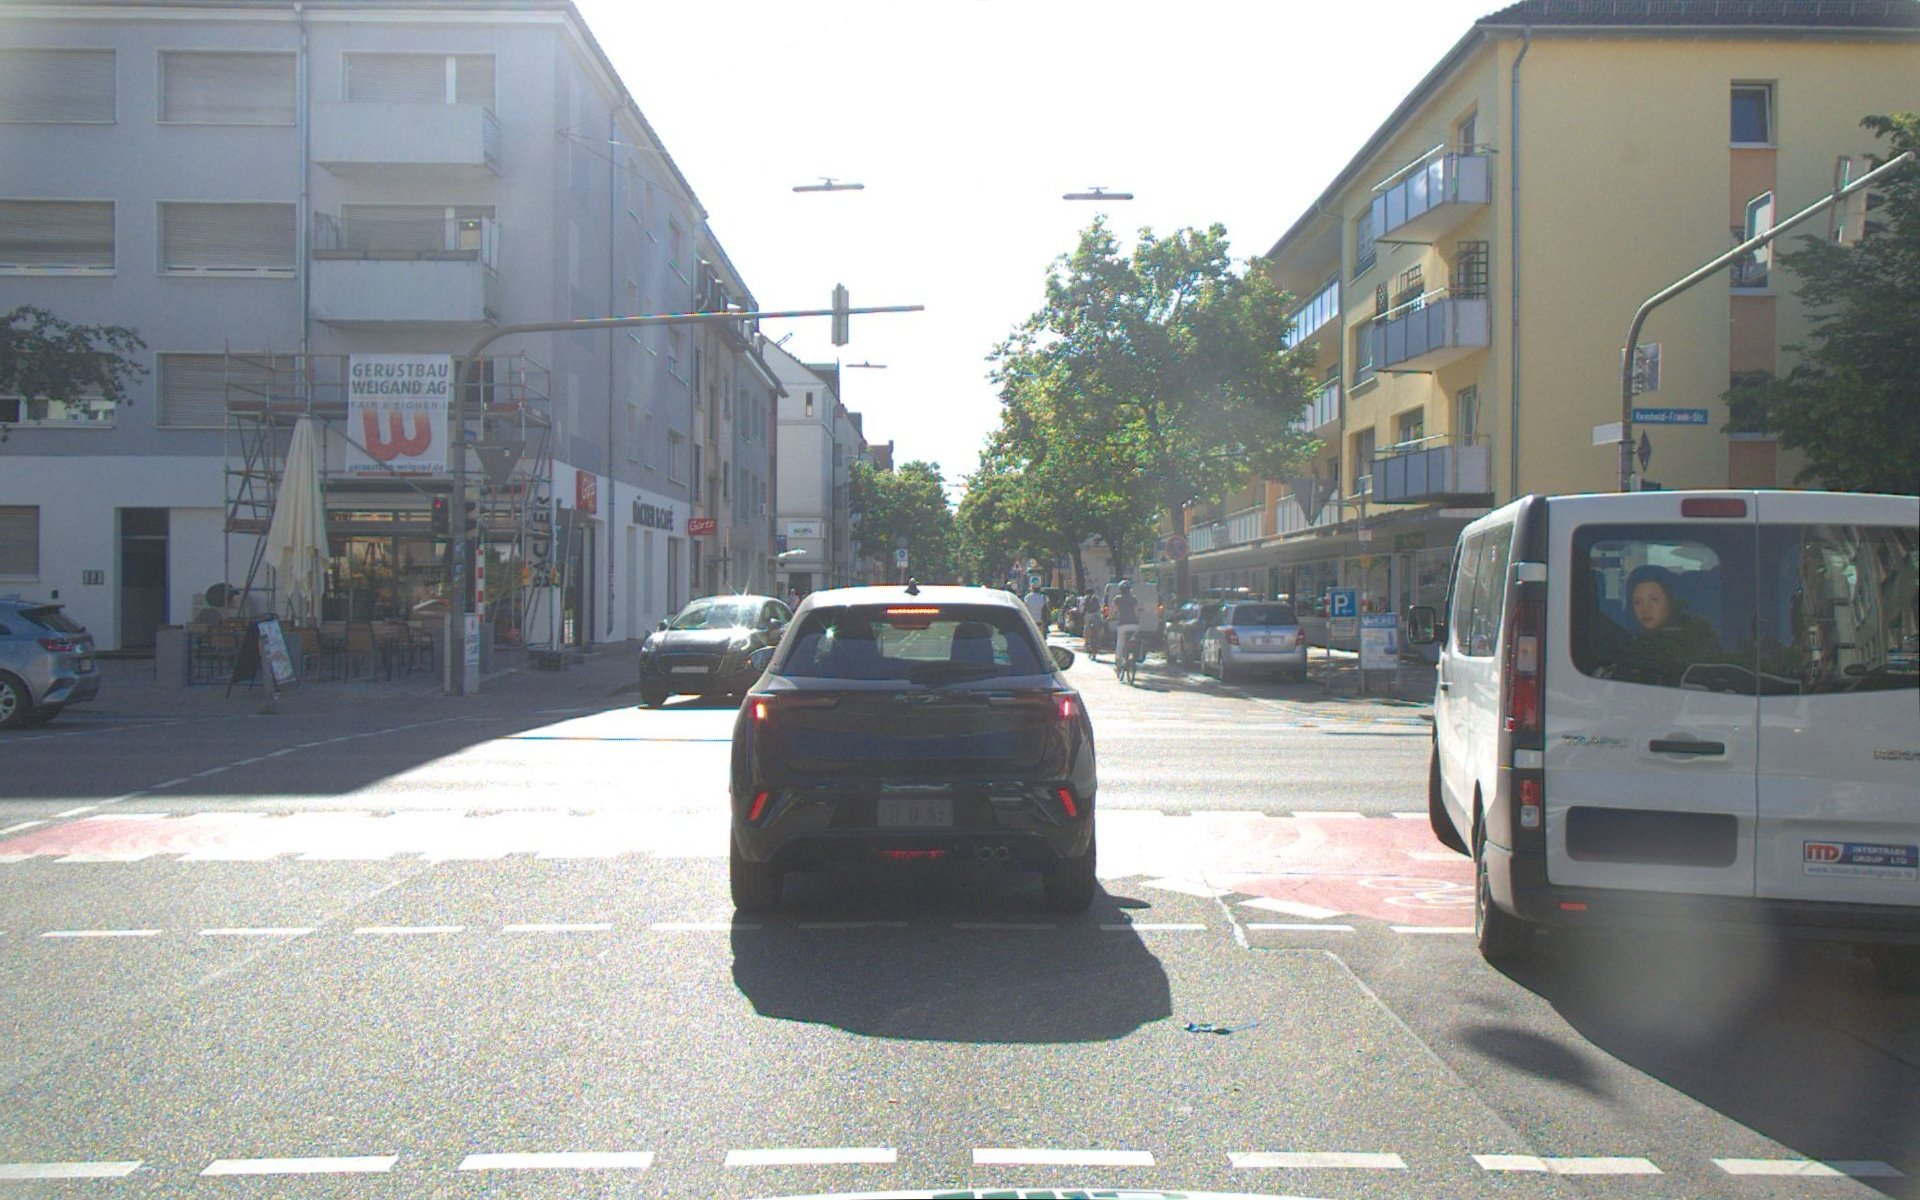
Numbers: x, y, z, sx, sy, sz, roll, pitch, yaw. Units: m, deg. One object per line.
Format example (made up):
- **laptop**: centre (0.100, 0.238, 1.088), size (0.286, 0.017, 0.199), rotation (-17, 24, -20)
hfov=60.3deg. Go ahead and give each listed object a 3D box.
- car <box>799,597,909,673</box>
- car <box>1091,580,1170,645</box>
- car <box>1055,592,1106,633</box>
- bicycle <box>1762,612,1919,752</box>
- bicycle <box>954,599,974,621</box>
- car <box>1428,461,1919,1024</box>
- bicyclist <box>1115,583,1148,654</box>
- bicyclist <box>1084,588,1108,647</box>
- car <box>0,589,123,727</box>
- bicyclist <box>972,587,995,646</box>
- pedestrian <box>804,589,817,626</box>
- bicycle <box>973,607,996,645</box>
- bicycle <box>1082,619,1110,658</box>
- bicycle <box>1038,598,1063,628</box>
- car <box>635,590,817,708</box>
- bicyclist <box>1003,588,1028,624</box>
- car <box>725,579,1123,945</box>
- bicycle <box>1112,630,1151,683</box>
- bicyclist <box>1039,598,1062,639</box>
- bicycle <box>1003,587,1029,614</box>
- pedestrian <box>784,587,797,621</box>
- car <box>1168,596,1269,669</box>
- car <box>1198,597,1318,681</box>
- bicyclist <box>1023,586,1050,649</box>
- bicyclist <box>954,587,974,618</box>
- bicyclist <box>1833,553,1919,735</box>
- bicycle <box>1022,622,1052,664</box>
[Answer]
- **car**: centre (-2.160, 0.688, 34.901), size (1.767, 1.437, 4.428), rotation (-1, 0, 3)
- **car**: centre (5.150, 0.352, 50.449), size (2.004, 1.879, 4.584), rotation (0, 0, 1)
- **car**: centre (4.521, 0.452, 62.601), size (1.677, 1.509, 3.381), rotation (0, 0, 0)
- **bicycle**: centre (8.817, 0.764, 15.674), size (2.087, 1.277, 0.804), rotation (0, 0, 17)
- **bicycle**: centre (0.188, 0.443, 74.491), size (0.839, 0.961, 2.307), rotation (2, 0, -1)
- **car**: centre (3.531, 0.510, 8.413), size (1.926, 1.974, 5.060), rotation (2, 0, 13)
- **bicyclist**: centre (3.129, 0.325, 30.219), size (0.535, 1.284, 0.803), rotation (0, 0, 1)
- **bicyclist**: centre (3.291, 0.424, 40.112), size (0.535, 1.406, 0.823), rotation (0, 0, 1)
- **car**: centre (-11.516, 0.604, 17.940), size (4.099, 1.459, 1.833), rotation (0, 0, -19)
- **bicyclist**: centre (0.672, 0.476, 48.013), size (0.619, 1.698, 1.050), rotation (0, 0, -1)
- **pedestrian**: centre (-6.545, 0.332, 72.250), size (0.566, 1.610, 0.707), rotation (0, 0, -6)
- **bicycle**: centre (0.714, 0.760, 48.268), size (0.619, 1.059, 1.795), rotation (0, 0, -1)
- **bicycle**: centre (3.295, 0.919, 40.226), size (0.535, 0.881, 1.876), rotation (0, 0, 1)
- **bicycle**: centre (2.745, 0.395, 50.162), size (0.677, 0.881, 1.876), rotation (0, 0, 1)
- **car**: centre (-3.353, 0.673, 24.479), size (1.558, 1.593, 4.092), rotation (-1, 0, 8)
- **bicyclist**: centre (2.111, 0.215, 62.858), size (0.839, 1.337, 1.210), rotation (2, 0, -1)
- **car**: centre (-0.177, 0.705, 9.199), size (1.726, 1.585, 3.999), rotation (0, 0, -1)
- **bicycle**: centre (3.128, 1.018, 30.266), size (0.535, 0.881, 1.876), rotation (0, 0, 1)
- **bicyclist**: centre (2.750, 0.562, 50.286), size (0.677, 1.214, 0.595), rotation (0, 0, 0)
- **bicycle**: centre (2.118, 0.009, 62.637), size (0.839, 0.961, 2.307), rotation (2, 0, -1)
- **pedestrian**: centre (-7.407, 0.172, 72.397), size (0.566, 1.493, 0.702), rotation (0, 0, -6)
- **car**: centre (5.628, 0.669, 36.296), size (1.677, 1.509, 3.381), rotation (0, 0, 0)
- **car**: centre (5.682, 0.710, 31.880), size (1.677, 1.509, 3.480), rotation (0, 0, 0)
- **bicyclist**: centre (1.730, 0.397, 37.370), size (0.576, 1.406, 0.823), rotation (0, 0, 1)
- **bicyclist**: centre (0.190, 0.103, 74.566), size (0.839, 1.337, 1.210), rotation (2, 0, -1)
- **bicyclist**: centre (8.946, 0.406, 15.632), size (1.098, 1.678, 0.804), rotation (0, 0, 17)
- **bicycle**: centre (1.737, 0.955, 37.431), size (0.607, 0.881, 1.876), rotation (0, 0, 1)
